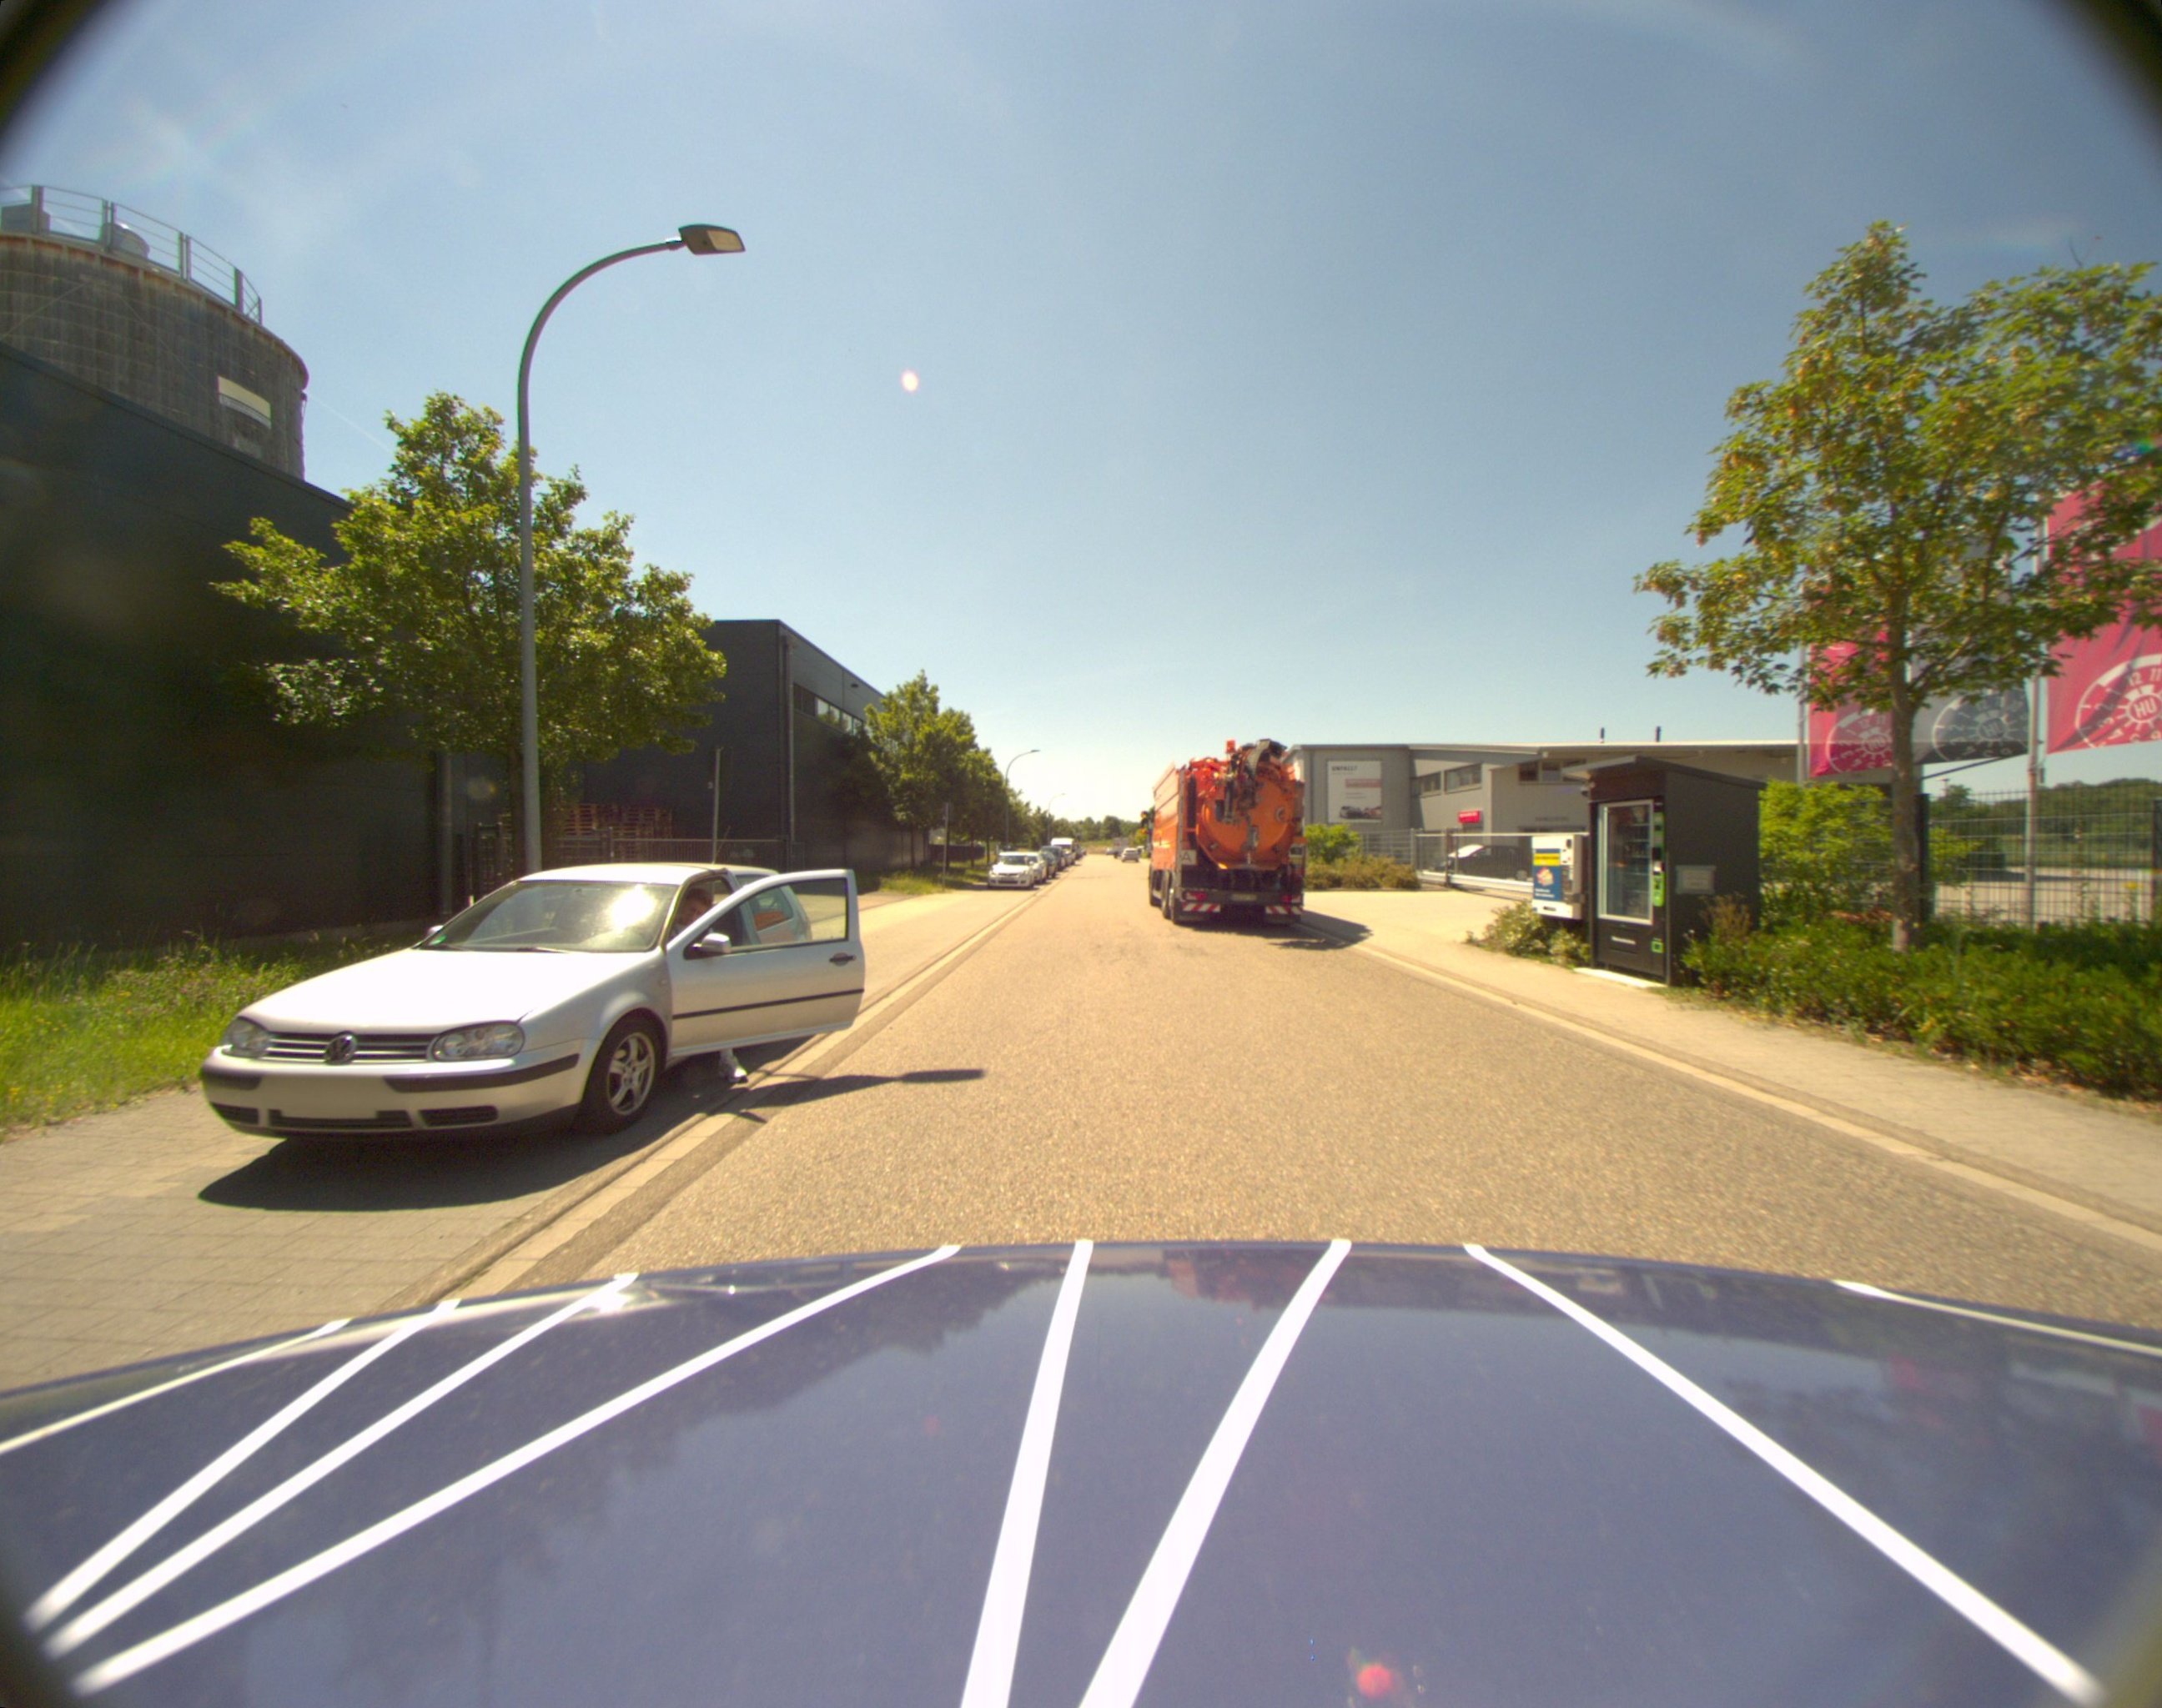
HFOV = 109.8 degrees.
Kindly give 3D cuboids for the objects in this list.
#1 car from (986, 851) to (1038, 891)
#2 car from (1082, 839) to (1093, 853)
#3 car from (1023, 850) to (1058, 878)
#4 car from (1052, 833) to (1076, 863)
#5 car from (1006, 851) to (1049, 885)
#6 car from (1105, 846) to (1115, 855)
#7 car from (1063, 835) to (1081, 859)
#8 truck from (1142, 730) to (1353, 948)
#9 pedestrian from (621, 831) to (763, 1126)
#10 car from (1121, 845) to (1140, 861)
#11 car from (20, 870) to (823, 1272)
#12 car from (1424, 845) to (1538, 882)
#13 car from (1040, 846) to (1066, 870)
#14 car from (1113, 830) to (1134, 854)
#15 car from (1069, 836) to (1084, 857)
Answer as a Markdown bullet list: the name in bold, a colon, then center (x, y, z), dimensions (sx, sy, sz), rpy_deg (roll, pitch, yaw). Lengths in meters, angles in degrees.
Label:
- **car**: center (-2.751, 0.655, 31.084), dimensions (1.736, 1.501, 3.665), rpy_deg (1, 1, 0)
- **car**: center (1.250, -1.468, 147.937), dimensions (2.060, 2.683, 4.834), rpy_deg (0, 1, 0)
- **car**: center (-2.203, 0.512, 42.618), dimensions (1.736, 1.501, 3.745), rpy_deg (0, 1, 0)
- **car**: center (-1.531, -0.581, 70.713), dimensions (2.060, 2.683, 4.834), rpy_deg (0, 1, 0)
- **car**: center (-2.500, 0.601, 36.043), dimensions (1.736, 1.501, 3.844), rpy_deg (0, 1, 0)
- **car**: center (5.311, -0.611, 140.644), dimensions (1.867, 1.674, 4.223), rpy_deg (0, 1, 2)
- **car**: center (-1.006, -0.826, 90.392), dimensions (2.060, 2.683, 4.834), rpy_deg (0, 1, 0)
- **truck**: center (3.126, -0.297, 17.588), dimensions (2.606, 3.524, 10.499), rpy_deg (0, 1, 0)
- **pedestrian**: center (-2.627, 0.757, 5.118), dimensions (0.722, 1.799, 0.703), rpy_deg (-2, 1, -34)
- **car**: center (5.275, -0.117, 81.441), dimensions (1.998, 1.674, 4.000), rpy_deg (0, 1, 2)
- **car**: center (-3.323, 0.907, 5.107), dimensions (1.711, 1.449, 4.188), rpy_deg (1, 1, 1)
- **car**: center (15.956, 0.356, 30.418), dimensions (3.747, 1.434, 1.582), rpy_deg (0, 1, -2)
- **car**: center (-1.989, 0.244, 54.529), dimensions (1.736, 1.684, 3.745), rpy_deg (0, 1, 0)
- **car**: center (5.707, -1.591, 103.031), dimensions (2.600, 3.213, 6.222), rpy_deg (0, 1, 2)
- **car**: center (-0.597, -1.018, 102.889), dimensions (2.060, 2.683, 4.834), rpy_deg (0, 1, 0)
